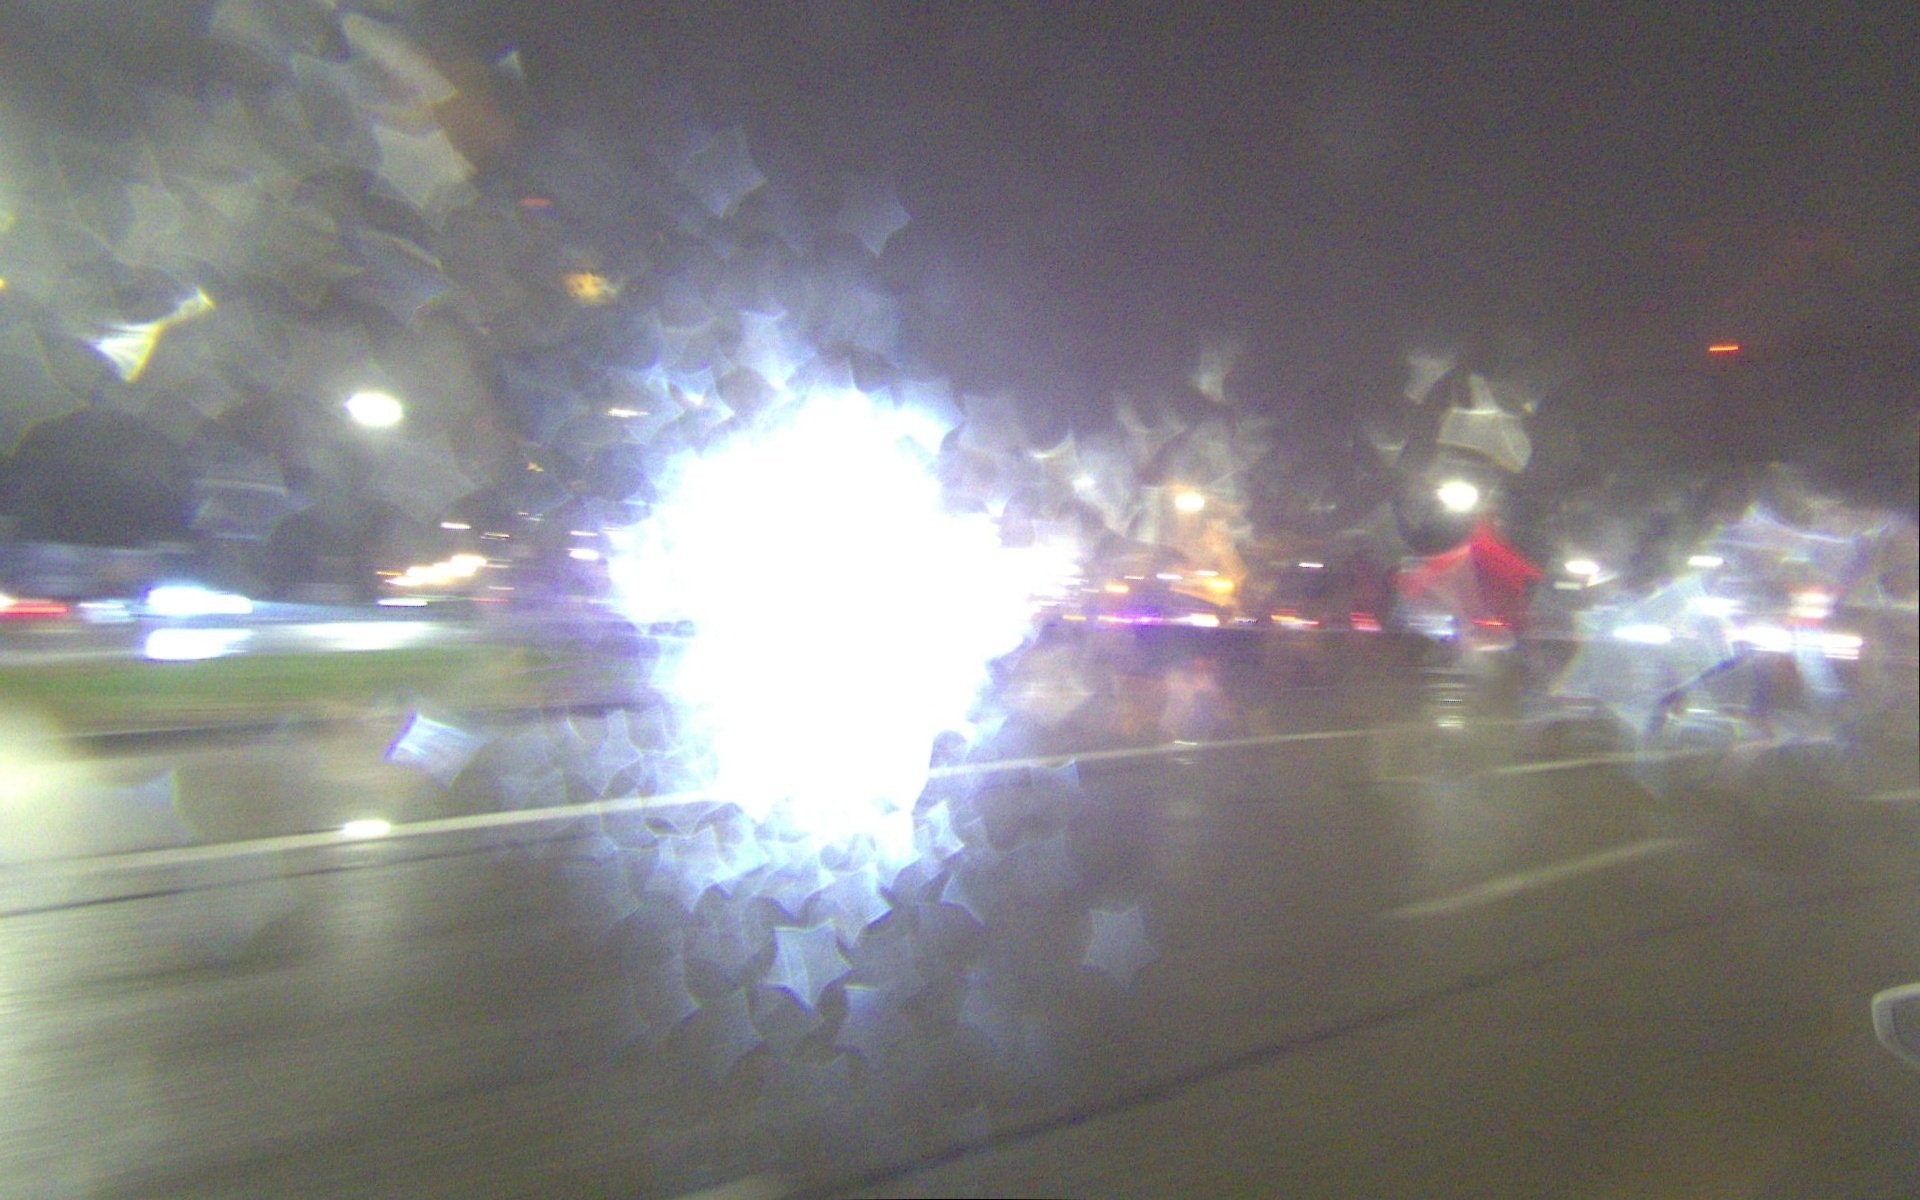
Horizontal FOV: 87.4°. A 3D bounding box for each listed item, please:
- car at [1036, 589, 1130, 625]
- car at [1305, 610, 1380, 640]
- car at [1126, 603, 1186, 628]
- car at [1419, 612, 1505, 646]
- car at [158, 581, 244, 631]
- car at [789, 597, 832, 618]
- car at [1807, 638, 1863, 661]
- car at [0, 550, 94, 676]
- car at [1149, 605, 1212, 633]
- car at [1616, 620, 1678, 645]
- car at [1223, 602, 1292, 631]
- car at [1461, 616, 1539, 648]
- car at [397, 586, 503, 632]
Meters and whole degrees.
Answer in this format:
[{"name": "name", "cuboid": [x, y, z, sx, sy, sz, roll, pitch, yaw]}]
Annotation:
[{"name": "car", "cuboid": [8.468, 0.466, 69.195, 6.186, 2.117, 2.517, 3, 1, 7]}, {"name": "car", "cuboid": [23.628, 1.530, 62.049, 3.900, 1.600, 1.870, 3, 1, 36]}, {"name": "car", "cuboid": [14.115, 1.120, 72.471, 3.923, 1.506, 1.768, 3, 1, 23]}, {"name": "car", "cuboid": [28.424, 1.636, 56.964, 1.821, 1.637, 3.954, 3, 1, -39]}, {"name": "car", "cuboid": [-24.729, 0.163, 32.692, 1.817, 1.391, 3.897, 3, 1, -43]}, {"name": "car", "cuboid": [-12.522, 0.634, 84.464, 1.739, 1.639, 3.871, 3, 1, 24]}, {"name": "car", "cuboid": [75.642, 4.266, 86.826, 4.331, 1.781, 1.868, 3, 1, -22]}, {"name": "car", "cuboid": [-14.864, 0.119, 13.054, 2.022, 1.755, 5.132, 3, 0, 18]}, {"name": "car", "cuboid": [14.861, 1.283, 67.690, 3.920, 1.637, 1.837, 3, 1, 17]}, {"name": "car", "cuboid": [52.211, 2.484, 76.370, 3.829, 1.662, 1.857, 3, 1, -17]}, {"name": "car", "cuboid": [19.172, 1.064, 64.725, 3.894, 1.600, 1.734, 3, 1, 30]}, {"name": "car", "cuboid": [31.336, 1.826, 58.363, 1.719, 1.600, 3.595, 3, 1, -33]}, {"name": "car", "cuboid": [-24.814, 0.446, 48.901, 4.373, 2.040, 1.983, 3, 1, -32]}]
